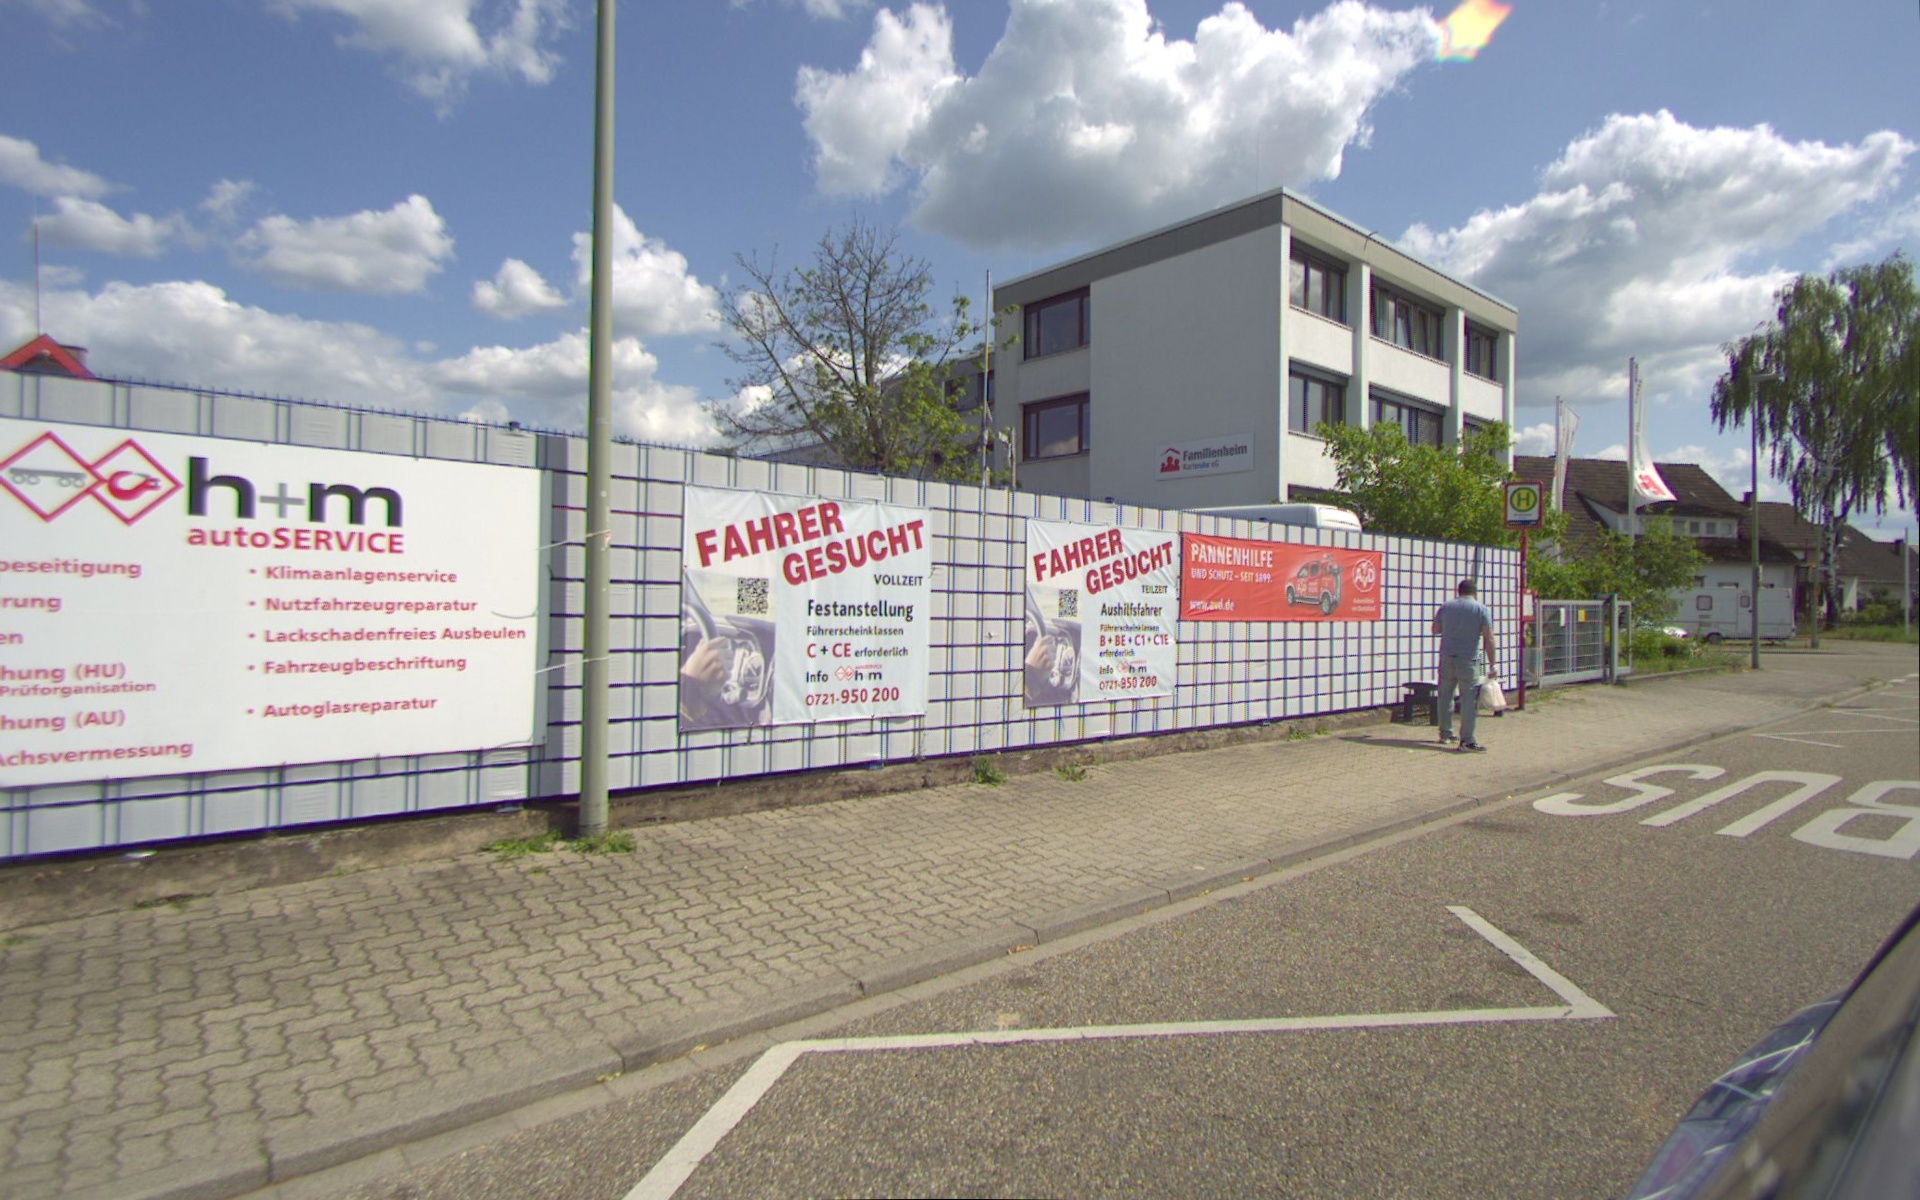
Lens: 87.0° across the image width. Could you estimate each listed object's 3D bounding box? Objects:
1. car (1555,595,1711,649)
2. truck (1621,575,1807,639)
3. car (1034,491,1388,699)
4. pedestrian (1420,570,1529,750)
[{"bbox_3d":[24.030,0.726,36.343,1.826,1.774,4.418,0,1,-22],"label":"car"},{"bbox_3d":[32.534,0.283,43.967,5.993,2.610,2.545,0,-1,24],"label":"truck"},{"bbox_3d":[3.680,-0.087,15.508,4.905,2.685,2.041,1,0,43],"label":"car"},{"bbox_3d":[5.249,0.585,10.341,0.514,1.717,0.716,1,5,-44],"label":"pedestrian"}]
